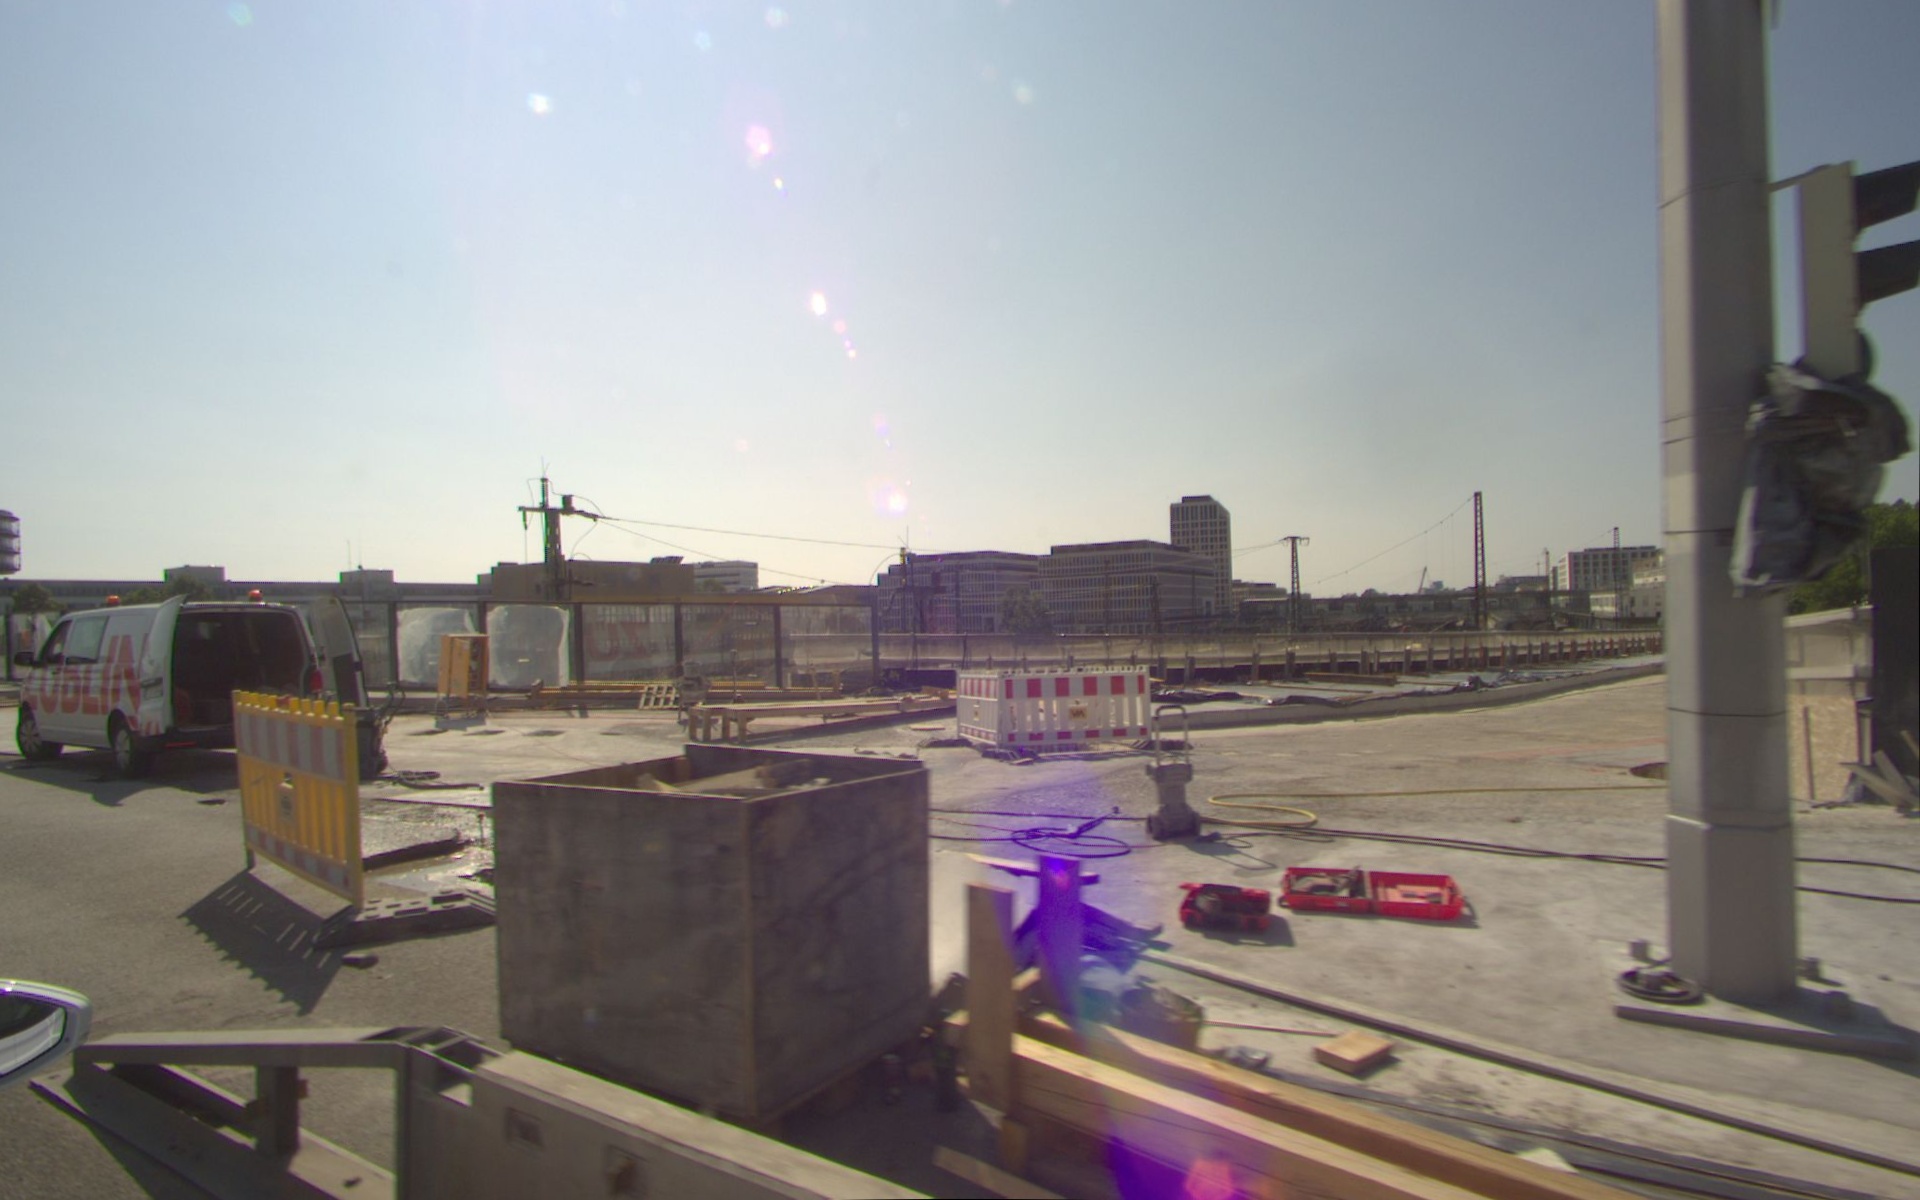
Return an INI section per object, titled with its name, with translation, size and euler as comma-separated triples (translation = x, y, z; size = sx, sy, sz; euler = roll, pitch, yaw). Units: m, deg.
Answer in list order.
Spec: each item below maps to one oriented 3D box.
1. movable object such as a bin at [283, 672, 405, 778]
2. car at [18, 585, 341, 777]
[movable object such as a bin]
translation = -6.978, 1.397, 11.391
size = 0.925, 1.088, 0.891
euler = 0, -1, -12
[car]
translation = -10.144, 0.957, 12.898
size = 4.824, 2.059, 1.874
euler = -2, -2, 34
